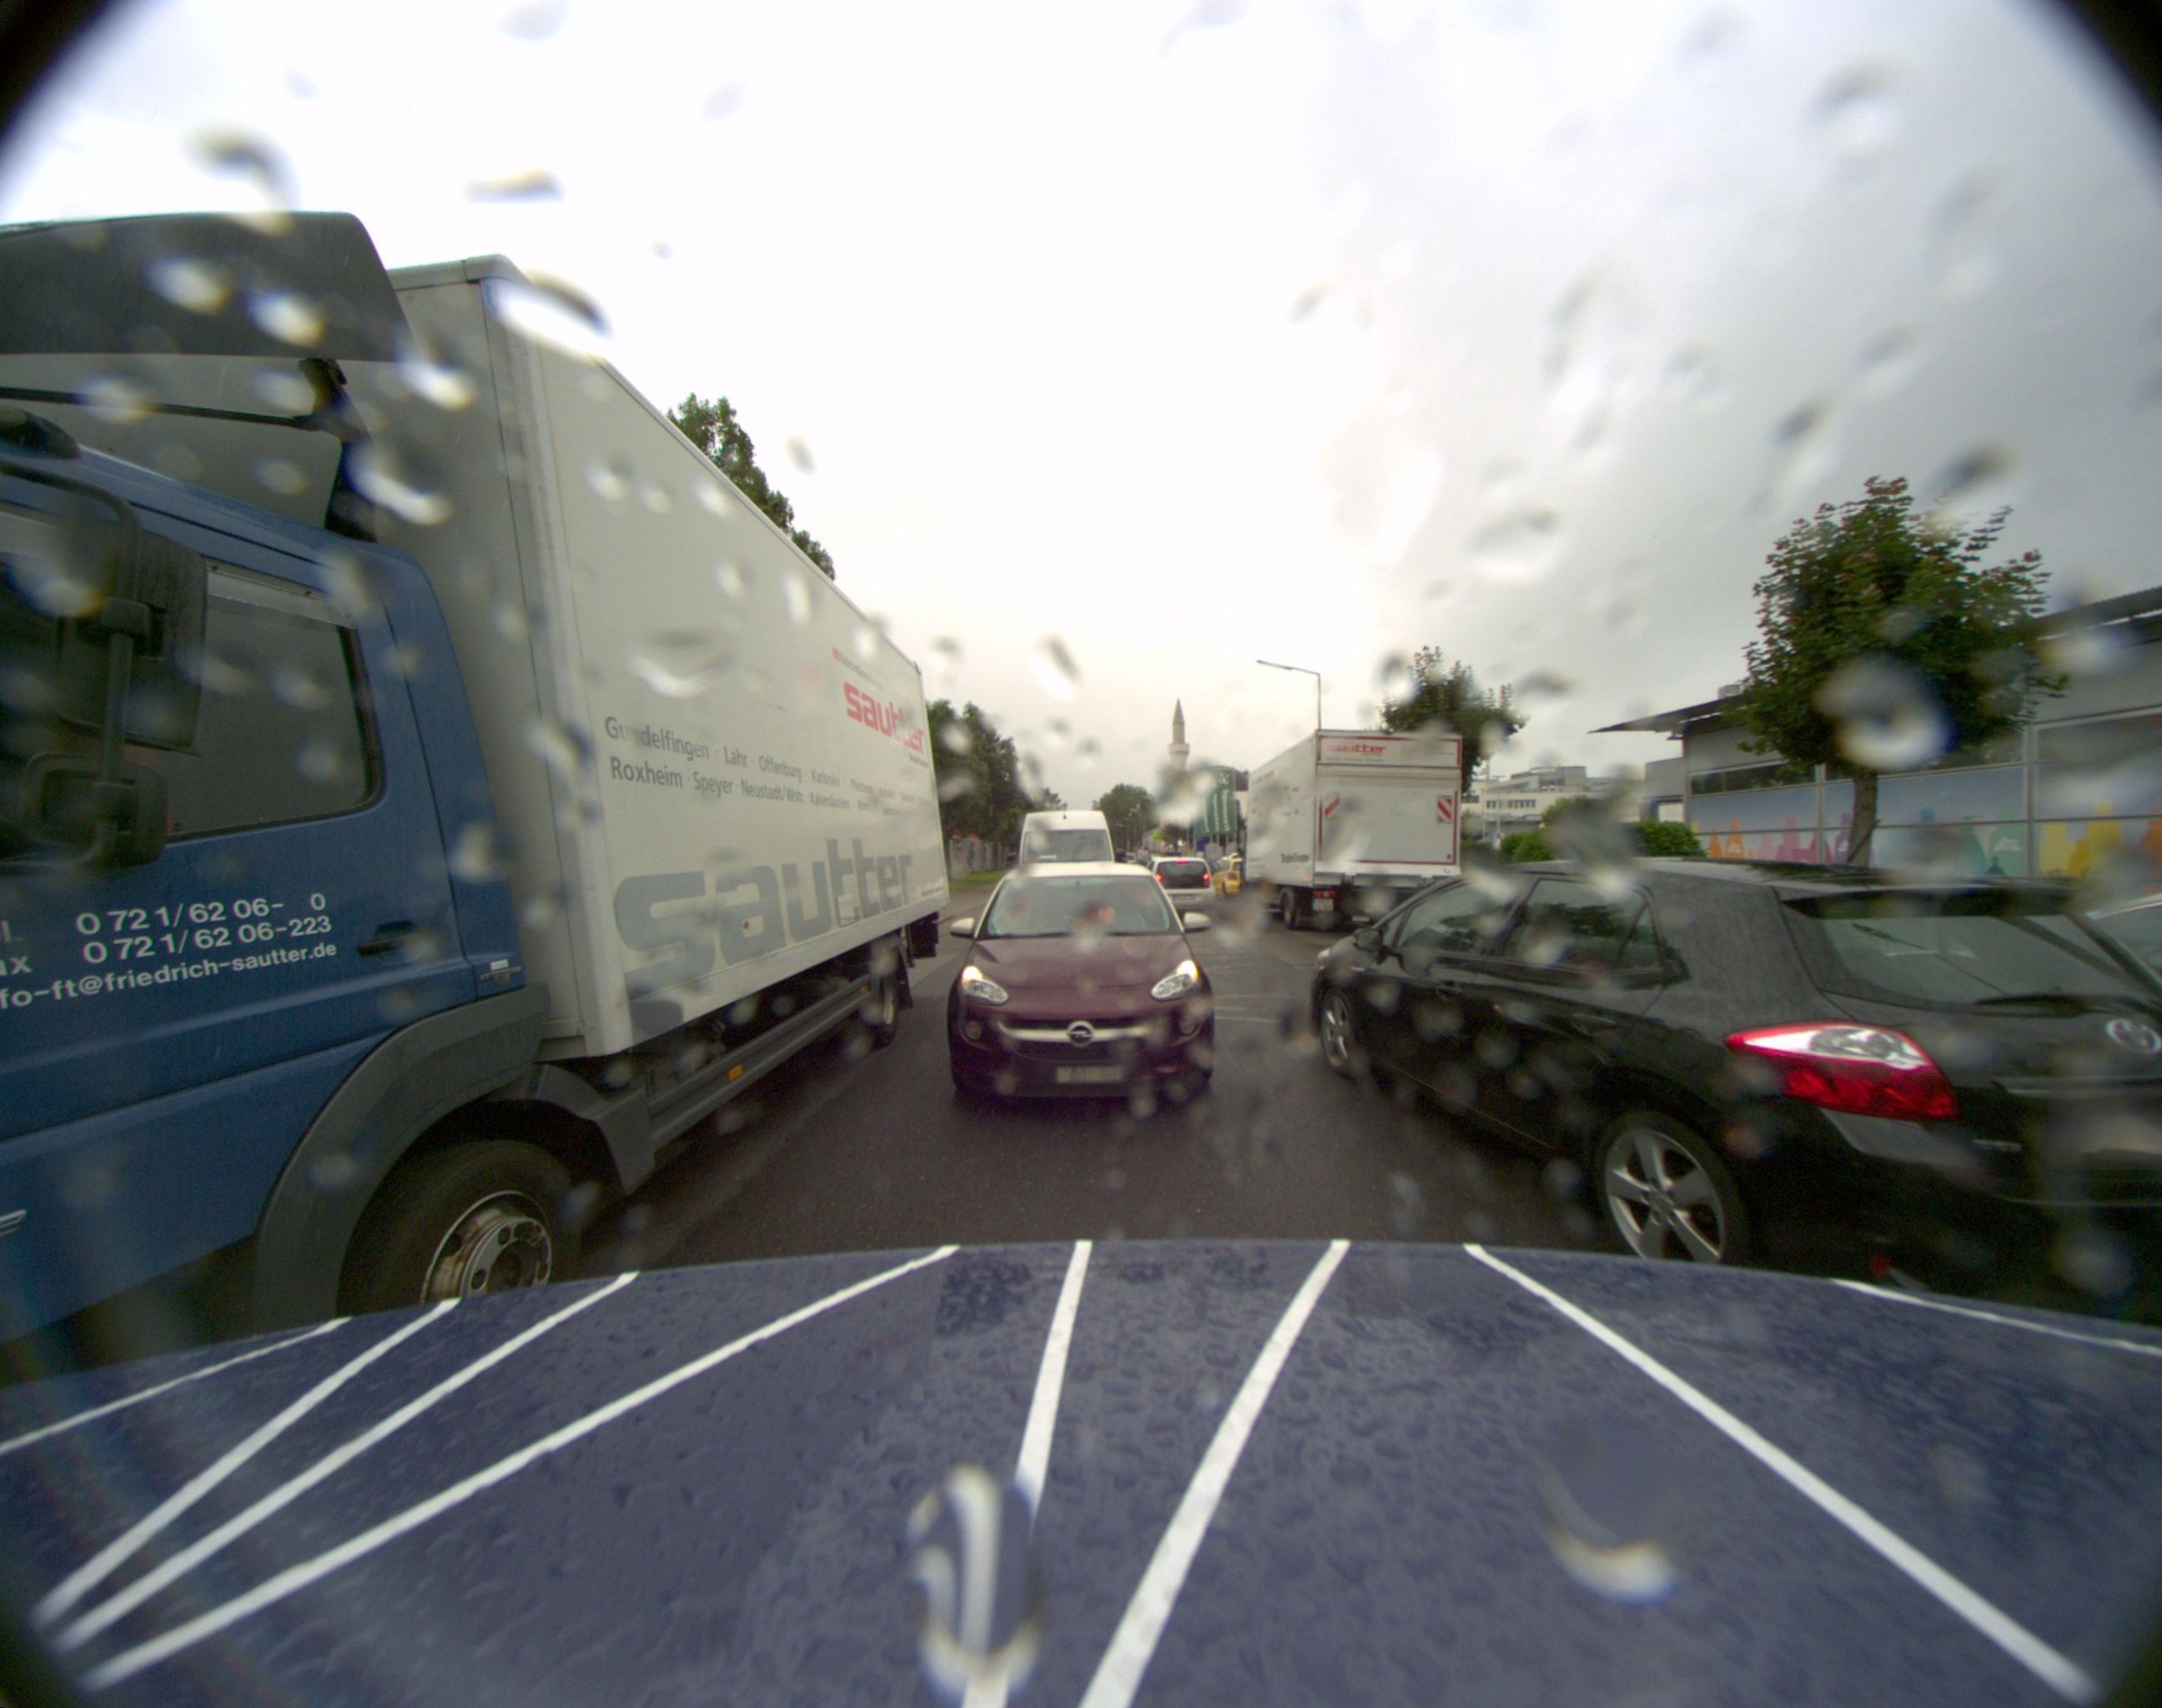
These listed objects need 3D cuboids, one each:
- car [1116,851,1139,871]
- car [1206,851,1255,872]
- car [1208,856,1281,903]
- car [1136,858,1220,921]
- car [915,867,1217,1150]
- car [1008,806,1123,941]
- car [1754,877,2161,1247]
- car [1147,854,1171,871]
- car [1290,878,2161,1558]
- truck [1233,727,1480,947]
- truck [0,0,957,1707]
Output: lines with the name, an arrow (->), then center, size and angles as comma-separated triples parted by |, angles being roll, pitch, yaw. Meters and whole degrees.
car -> 3.839, 0.560, 63.282 | 1.691, 1.588, 3.610 | -1, 0, 0
car -> 12.027, 0.593, 61.231 | 3.609, 1.588, 1.692 | -1, 0, -2
car -> 5.459, 0.814, 25.769 | 1.691, 1.457, 3.513 | -1, 0, 0
car -> 2.377, 0.825, 19.402 | 1.615, 1.430, 3.407 | 0, 0, -2
car -> -0.068, 0.901, 6.063 | 1.637, 1.446, 3.577 | -2, 0, 0
car -> -0.326, 0.359, 16.817 | 2.085, 2.466, 5.346 | -1, 0, -1
car -> 5.267, 0.876, 2.695 | 1.840, 1.426, 4.492 | 0, 0, 2
car -> 6.391, 0.701, 62.761 | 1.579, 1.333, 3.610 | -1, 0, 0
car -> 2.634, 0.897, 3.811 | 1.736, 1.432, 3.998 | 0, 0, -6
truck -> 5.504, -0.299, 16.970 | 2.888, 3.724, 7.868 | -1, 0, 2
truck -> -2.970, -0.016, 4.691 | 2.678, 3.670, 8.009 | -4, 0, 1
